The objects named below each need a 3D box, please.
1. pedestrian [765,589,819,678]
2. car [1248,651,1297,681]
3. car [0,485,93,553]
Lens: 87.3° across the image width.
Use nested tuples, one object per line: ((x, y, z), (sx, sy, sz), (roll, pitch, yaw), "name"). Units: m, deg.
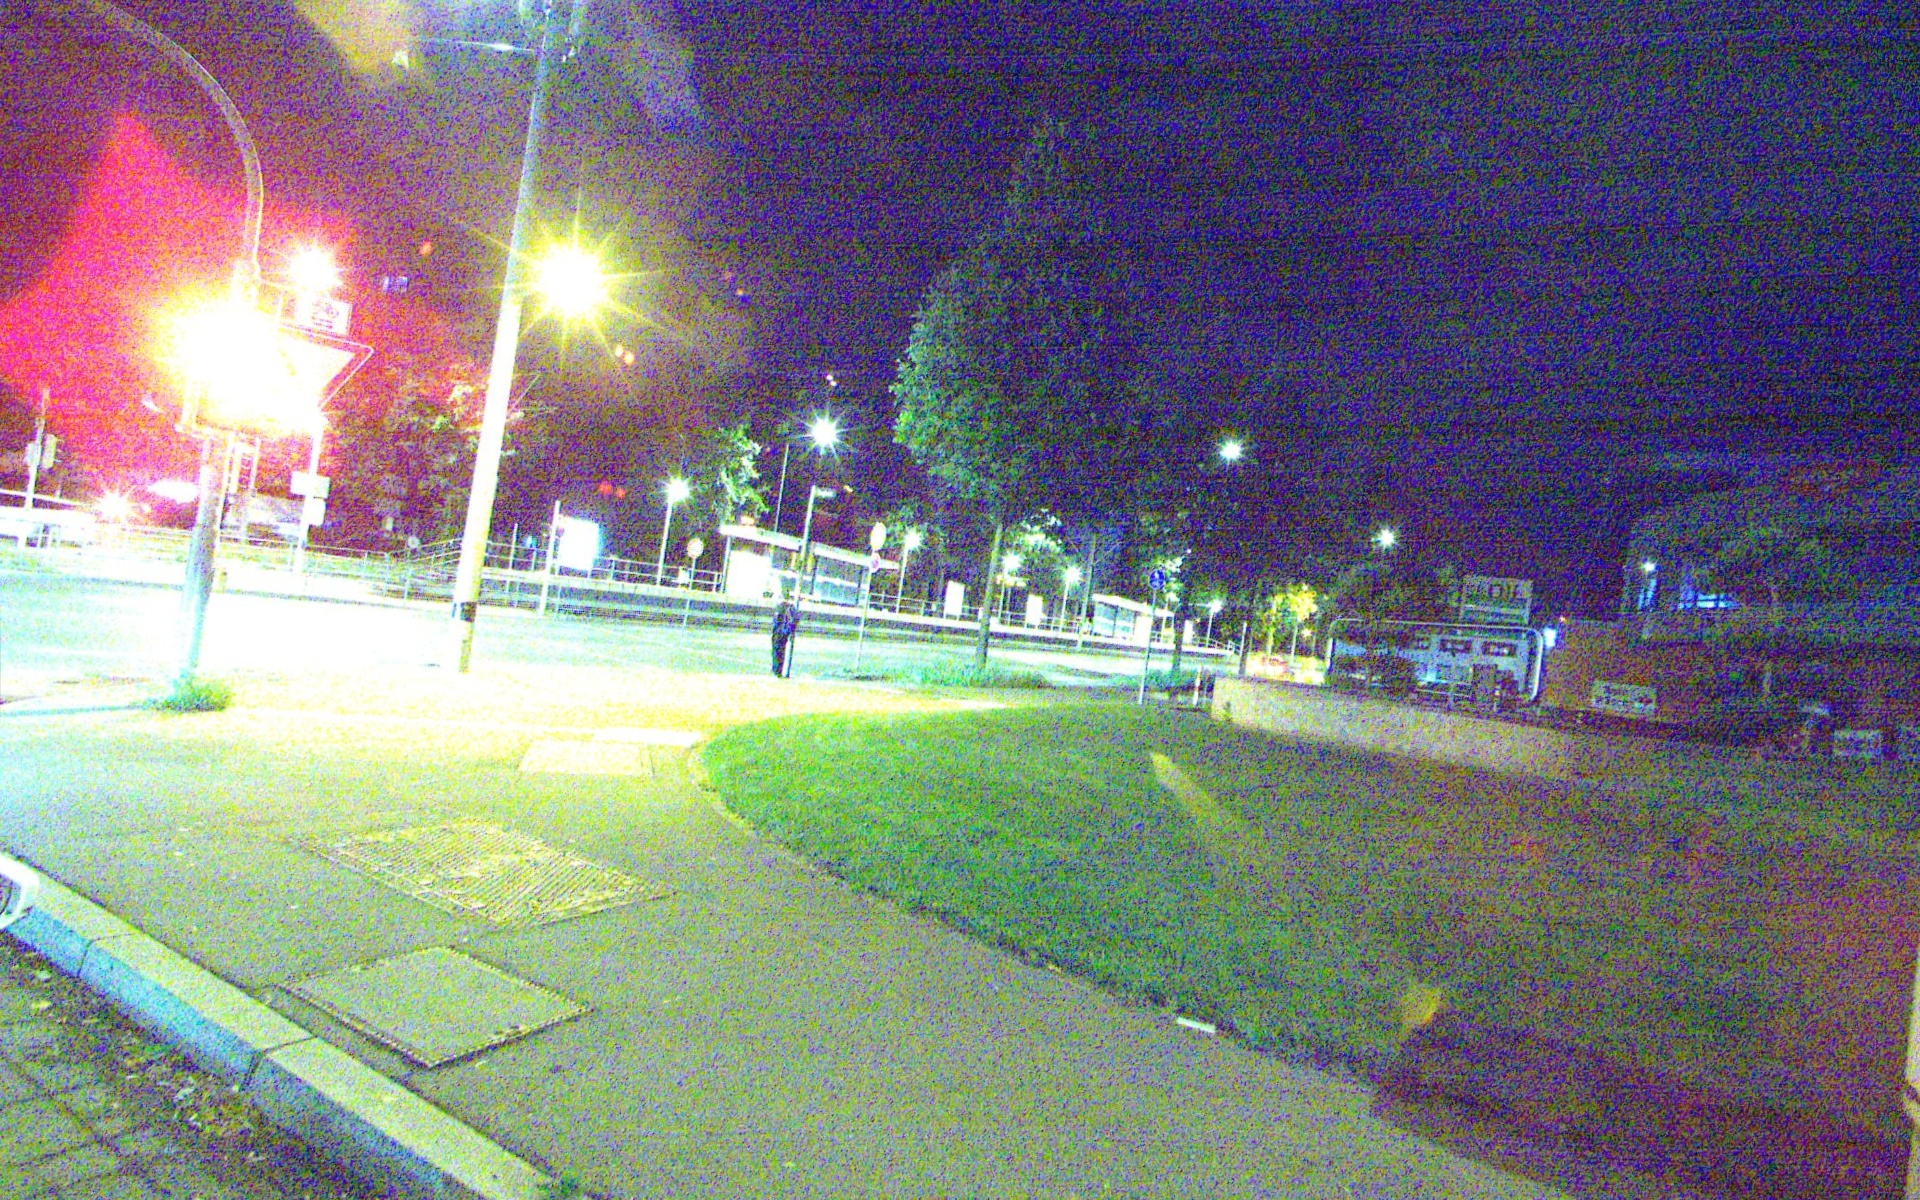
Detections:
((-3.281, 0.641, 19.597), (0.867, 1.677, 0.835), (2, 1, -18), "pedestrian")
((18.869, 3.997, 60.652), (1.631, 1.492, 3.880), (10, 1, 32), "car")
((-27.163, -2.428, 27.720), (1.816, 1.604, 4.574), (8, 0, 33), "car")
